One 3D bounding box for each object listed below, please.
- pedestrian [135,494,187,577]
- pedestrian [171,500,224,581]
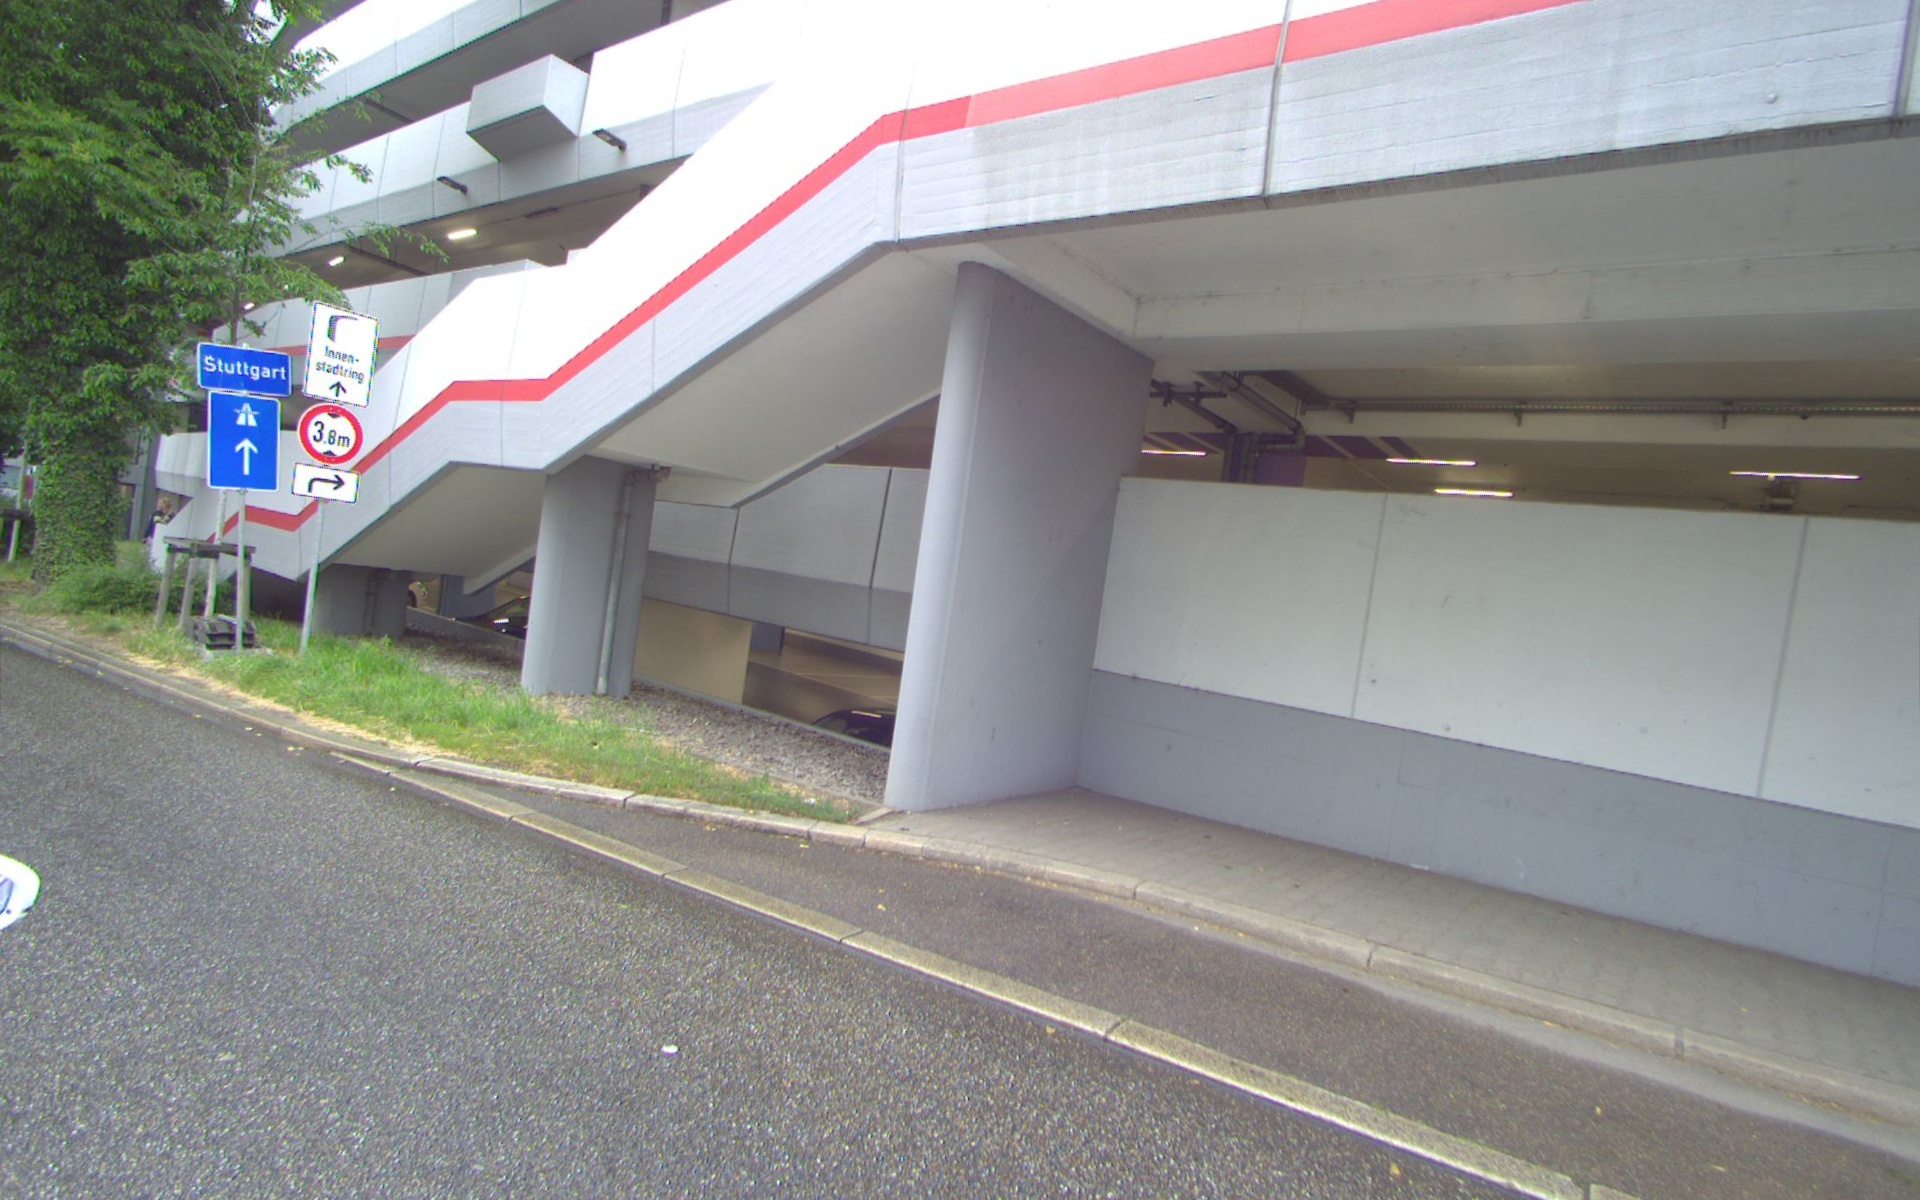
[{"bbox_3d":[-15.752,-1.272,19.827,0.481,1.550,0.551,6,-1,38],"label":"pedestrian"},{"bbox_3d":[-15.358,-1.197,20.263,0.496,1.519,0.582,6,-1,37],"label":"pedestrian"}]
